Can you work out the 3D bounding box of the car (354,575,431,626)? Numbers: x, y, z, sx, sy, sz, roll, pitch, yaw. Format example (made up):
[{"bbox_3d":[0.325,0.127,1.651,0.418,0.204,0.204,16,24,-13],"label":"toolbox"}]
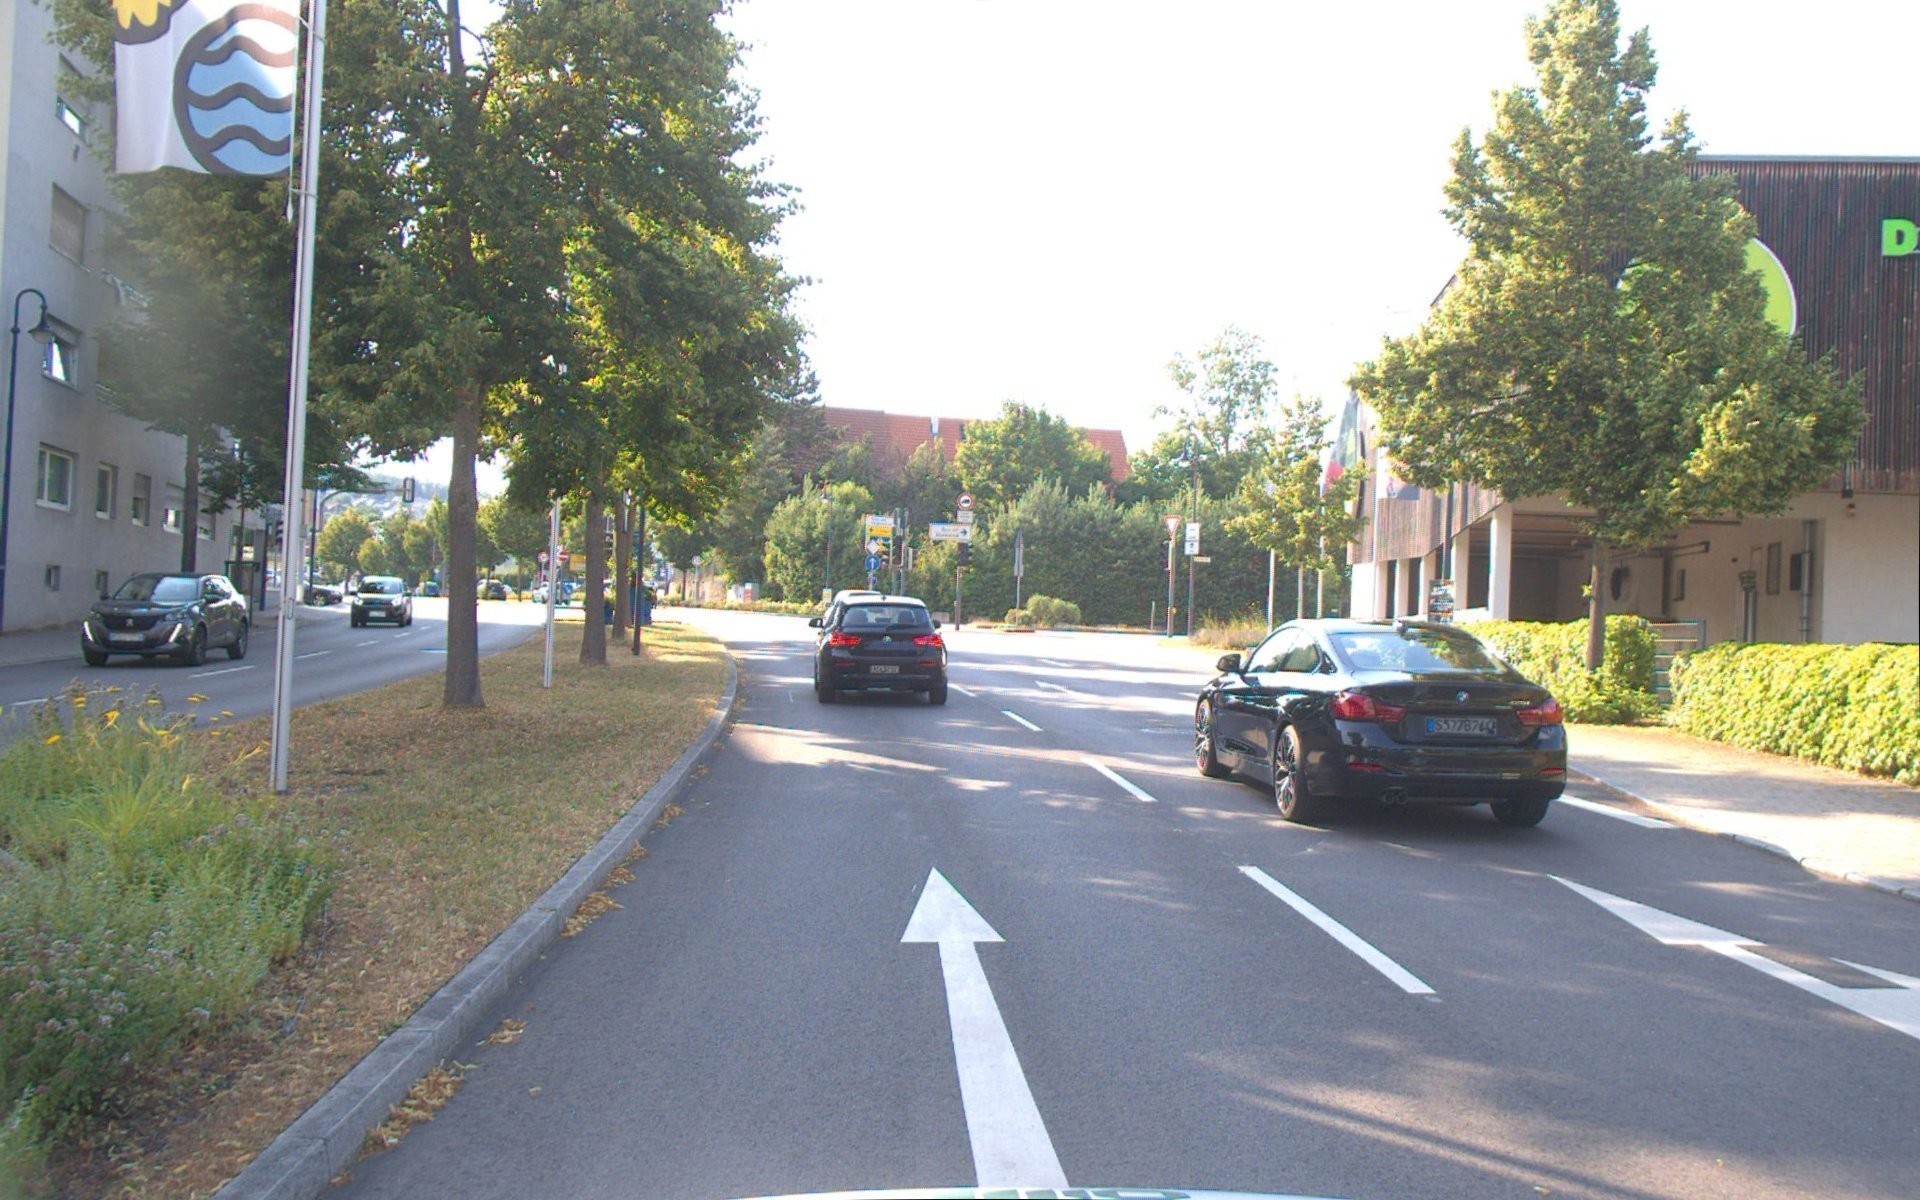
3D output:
[{"bbox_3d":[-17.742,0.013,51.817,1.576,1.512,3.777,1,0,-8],"label":"car"}]

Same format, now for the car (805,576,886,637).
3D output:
[{"bbox_3d":[-3.668,0.188,52.149,1.891,1.800,4.440,1,0,-12],"label":"car"}]

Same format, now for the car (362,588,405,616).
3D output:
[{"bbox_3d":[-31.987,0.112,91.679,1.828,1.512,4.957,1,0,-24],"label":"car"}]

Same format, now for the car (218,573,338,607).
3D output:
[{"bbox_3d":[-30.537,-0.444,74.207,4.781,1.462,1.908,1,0,-17],"label":"car"}]

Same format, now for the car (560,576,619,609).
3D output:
[{"bbox_3d":[-21.076,-0.452,93.936,2.192,1.800,4.412,1,0,-28],"label":"car"}]

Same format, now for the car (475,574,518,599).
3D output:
[{"bbox_3d":[-35.118,-0.999,125.210,2.192,1.800,4.412,1,0,-28],"label":"car"}]

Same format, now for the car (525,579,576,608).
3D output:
[{"bbox_3d":[-26.861,-0.448,108.366,2.192,1.800,4.412,1,0,-28],"label":"car"}]

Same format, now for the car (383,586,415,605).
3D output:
[{"bbox_3d":[-53.995,-0.434,159.265,2.192,1.800,4.412,1,0,-28],"label":"car"}]

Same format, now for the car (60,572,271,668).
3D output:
[{"bbox_3d":[-13.671,0.319,28.745,1.902,1.512,4.319,1,0,-6],"label":"car"}]

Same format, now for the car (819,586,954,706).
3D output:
[{"bbox_3d":[-1.132,0.597,23.591,1.687,1.516,4.348,2,0,-5],"label":"car"}]

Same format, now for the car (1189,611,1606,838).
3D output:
[{"bbox_3d":[3.065,0.804,12.599,1.882,1.388,4.351,1,0,-2],"label":"car"}]

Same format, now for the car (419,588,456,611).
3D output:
[{"bbox_3d":[-45.000,-0.089,142.431,2.192,1.891,4.412,1,0,-28],"label":"car"}]

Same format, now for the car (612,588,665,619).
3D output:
[{"bbox_3d":[-19.843,0.199,101.969,2.228,1.703,4.556,4,0,-23],"label":"car"}]
